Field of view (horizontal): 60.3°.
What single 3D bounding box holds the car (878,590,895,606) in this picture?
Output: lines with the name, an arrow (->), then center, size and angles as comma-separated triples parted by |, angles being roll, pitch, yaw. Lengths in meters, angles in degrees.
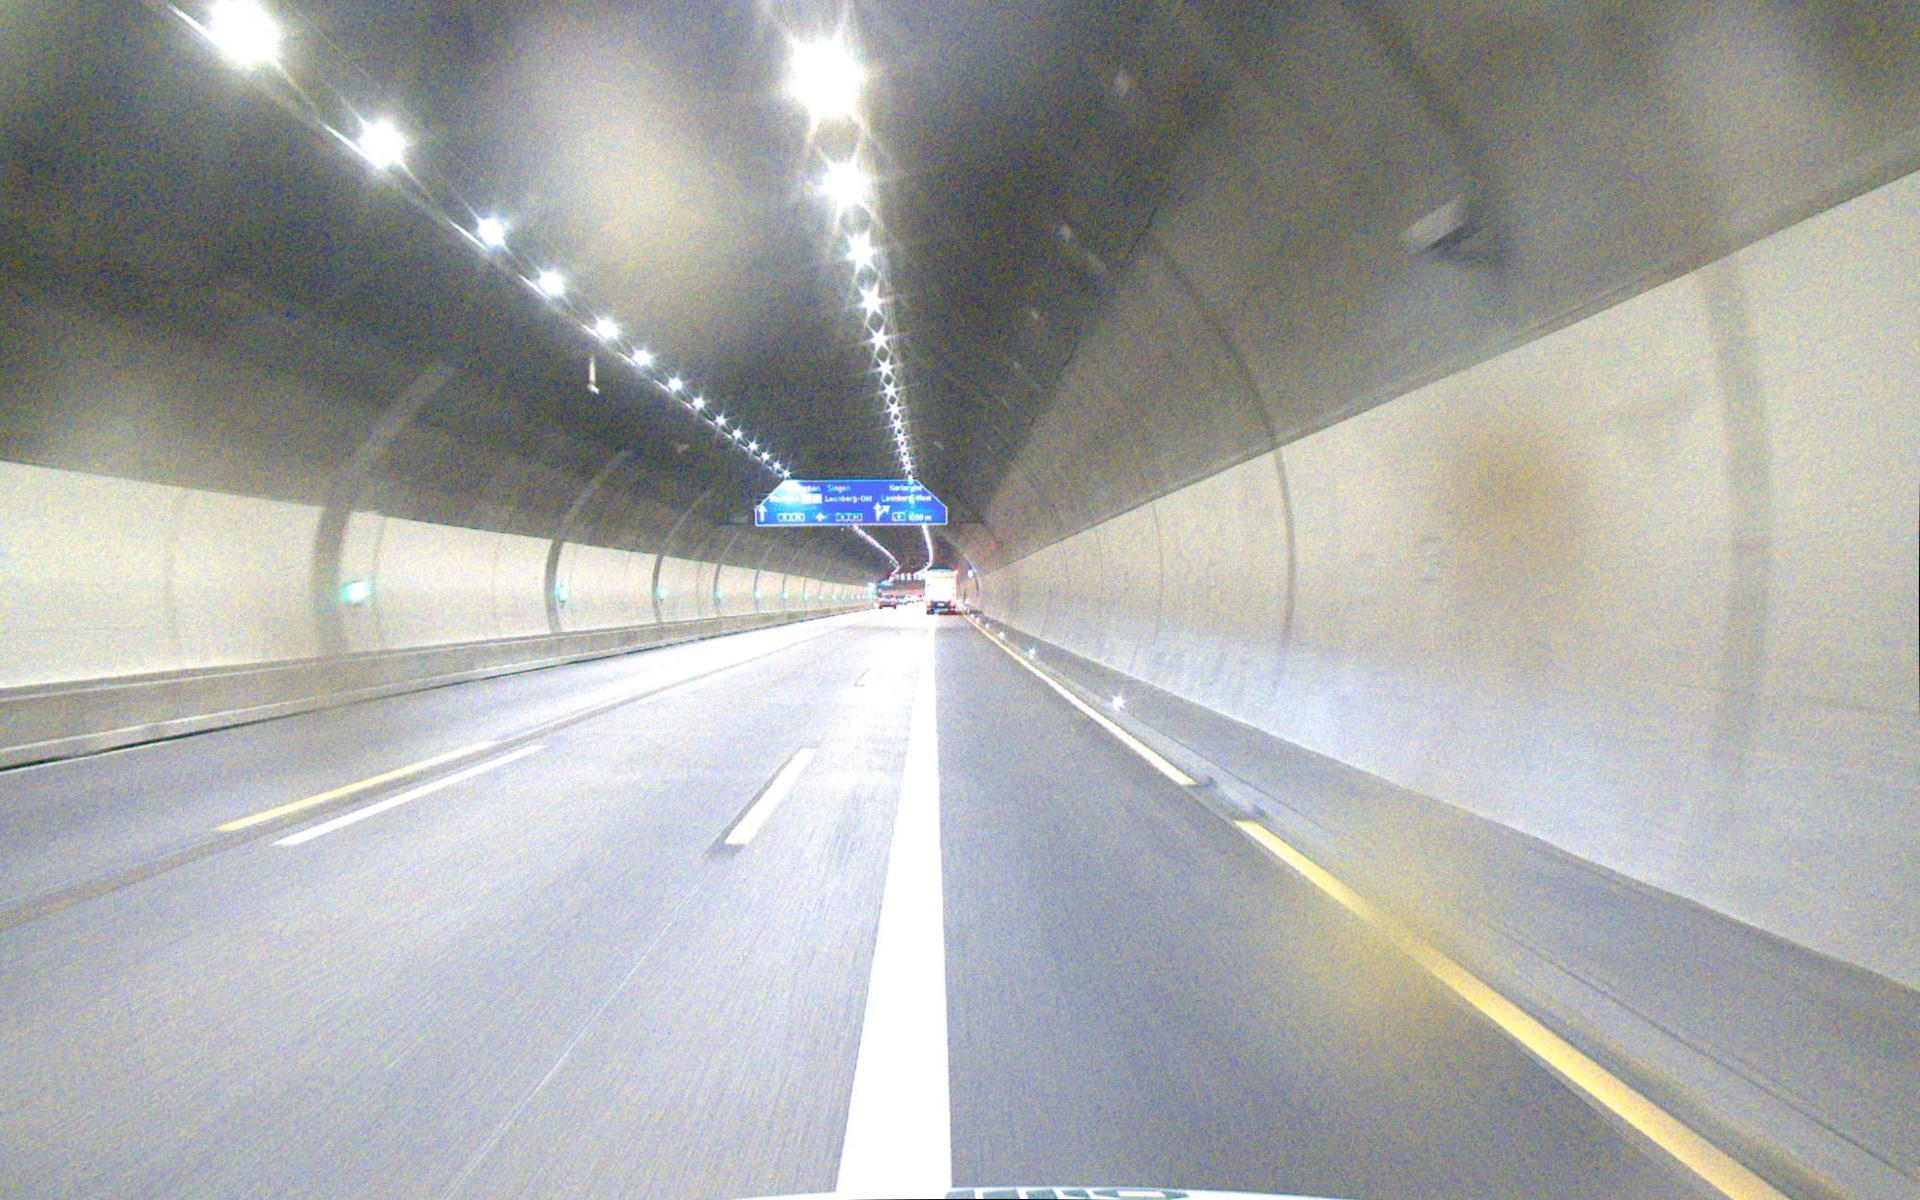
car -> -7.875, -0.212, 177.546 | 1.776, 1.646, 3.998 | 1, 1, -3

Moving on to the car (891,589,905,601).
car -> -8.798, -0.782, 235.589 | 1.777, 1.546, 3.997 | 1, 2, -4

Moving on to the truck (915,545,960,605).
truck -> -2.044, -2.023, 139.913 | 3.213, 4.731, 17.278 | -1, 0, -3
